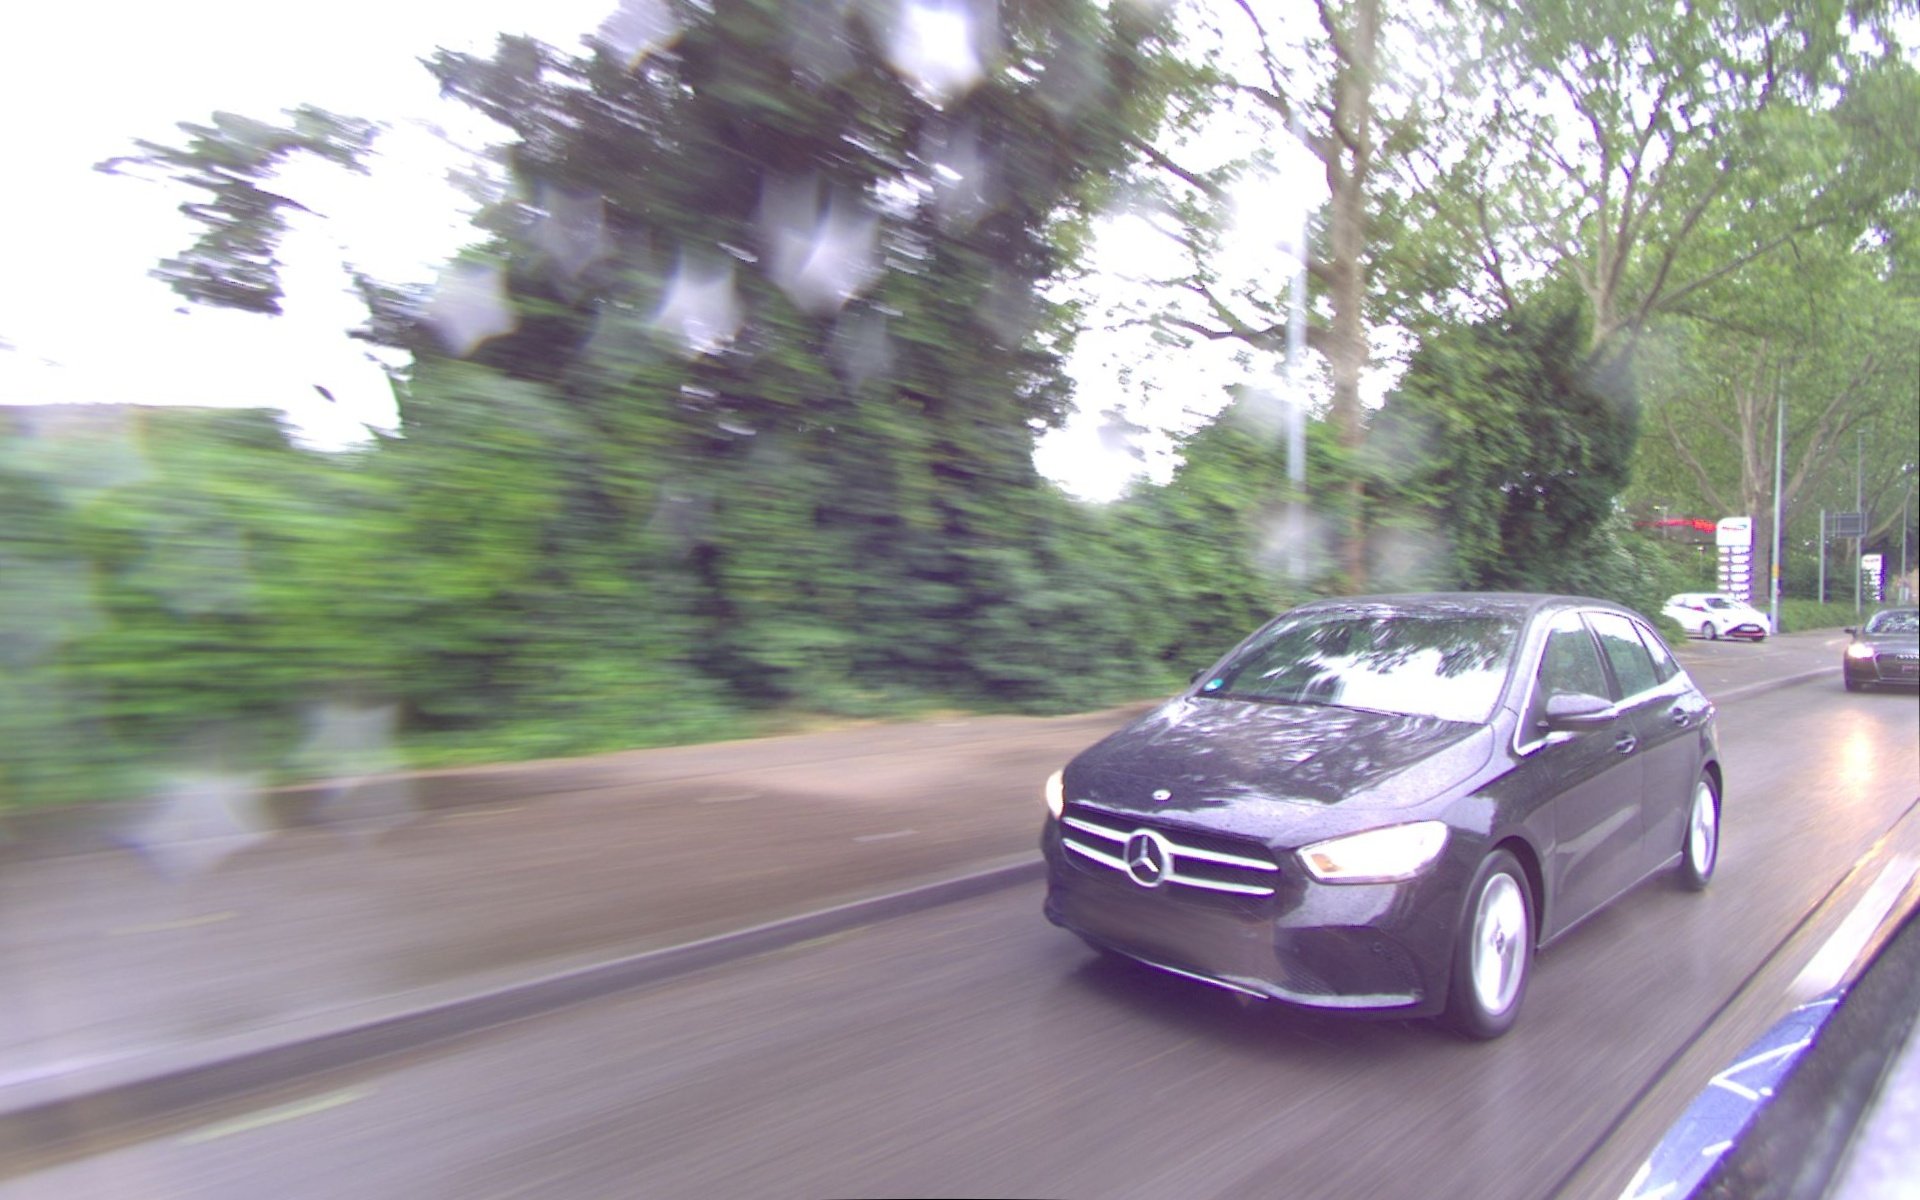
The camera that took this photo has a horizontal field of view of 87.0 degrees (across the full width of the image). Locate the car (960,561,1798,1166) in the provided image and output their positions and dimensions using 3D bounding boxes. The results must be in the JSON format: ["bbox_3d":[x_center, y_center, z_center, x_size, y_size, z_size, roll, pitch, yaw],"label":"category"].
[{"bbox_3d":[2.242,0.666,4.715,4.344,1.549,1.819,-1,-1,-40],"label":"car"}]

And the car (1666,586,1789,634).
[{"bbox_3d":[24.893,0.314,32.970,1.581,1.450,3.549,-1,0,7],"label":"car"}]

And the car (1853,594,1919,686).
[{"bbox_3d":[16.458,0.620,17.000,3.715,1.402,1.640,-1,0,-40],"label":"car"}]
